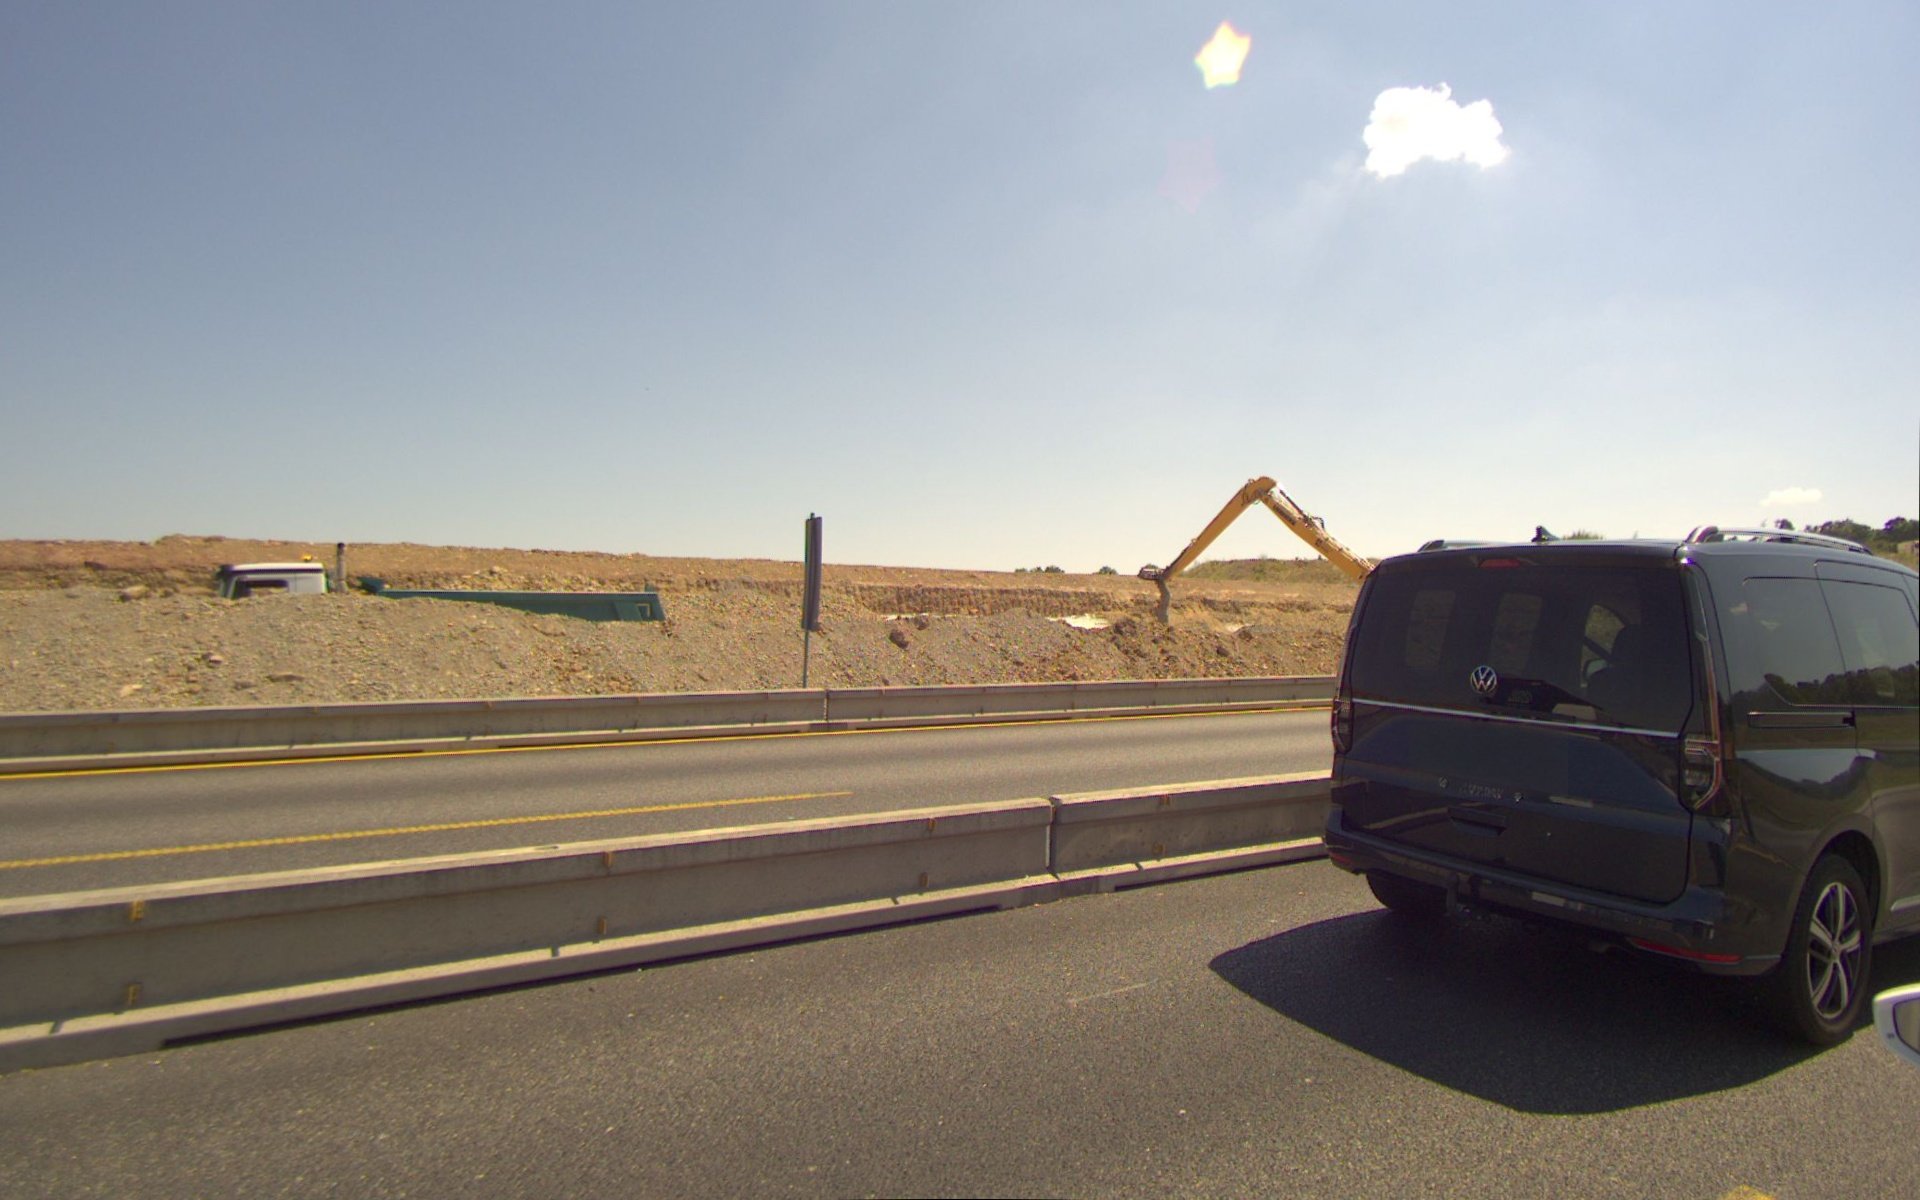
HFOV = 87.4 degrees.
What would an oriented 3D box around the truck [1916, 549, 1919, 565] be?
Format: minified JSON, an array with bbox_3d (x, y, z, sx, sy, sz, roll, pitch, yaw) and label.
[{"bbox_3d":[162.712,-7.347,167.211,2.259,2.785,8.900,2,0,24],"label":"truck"}]

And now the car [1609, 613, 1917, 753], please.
[{"bbox_3d":[10.850,1.015,13.517,4.309,1.595,1.754,1,0,-29],"label":"car"}]

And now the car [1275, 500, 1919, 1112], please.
[{"bbox_3d":[3.904,0.638,4.981,4.726,1.849,1.743,1,1,-30],"label":"car"}]

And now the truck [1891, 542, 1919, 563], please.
[{"bbox_3d":[155.342,-7.786,163.958,2.317,2.937,8.361,2,0,24],"label":"truck"}]

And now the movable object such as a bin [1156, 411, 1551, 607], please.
[{"bbox_3d":[15.985,-3.328,44.377,3.348,6.863,18.137,2,0,-29],"label":"movable object such as a bin"}]

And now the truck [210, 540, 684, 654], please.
[{"bbox_3d":[-10.698,0.049,21.822,8.706,2.086,2.548,2,0,-32],"label":"truck"}]

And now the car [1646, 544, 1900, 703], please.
[{"bbox_3d":[17.273,0.507,21.255,5.780,2.995,2.240,2,0,-30],"label":"car"}]
